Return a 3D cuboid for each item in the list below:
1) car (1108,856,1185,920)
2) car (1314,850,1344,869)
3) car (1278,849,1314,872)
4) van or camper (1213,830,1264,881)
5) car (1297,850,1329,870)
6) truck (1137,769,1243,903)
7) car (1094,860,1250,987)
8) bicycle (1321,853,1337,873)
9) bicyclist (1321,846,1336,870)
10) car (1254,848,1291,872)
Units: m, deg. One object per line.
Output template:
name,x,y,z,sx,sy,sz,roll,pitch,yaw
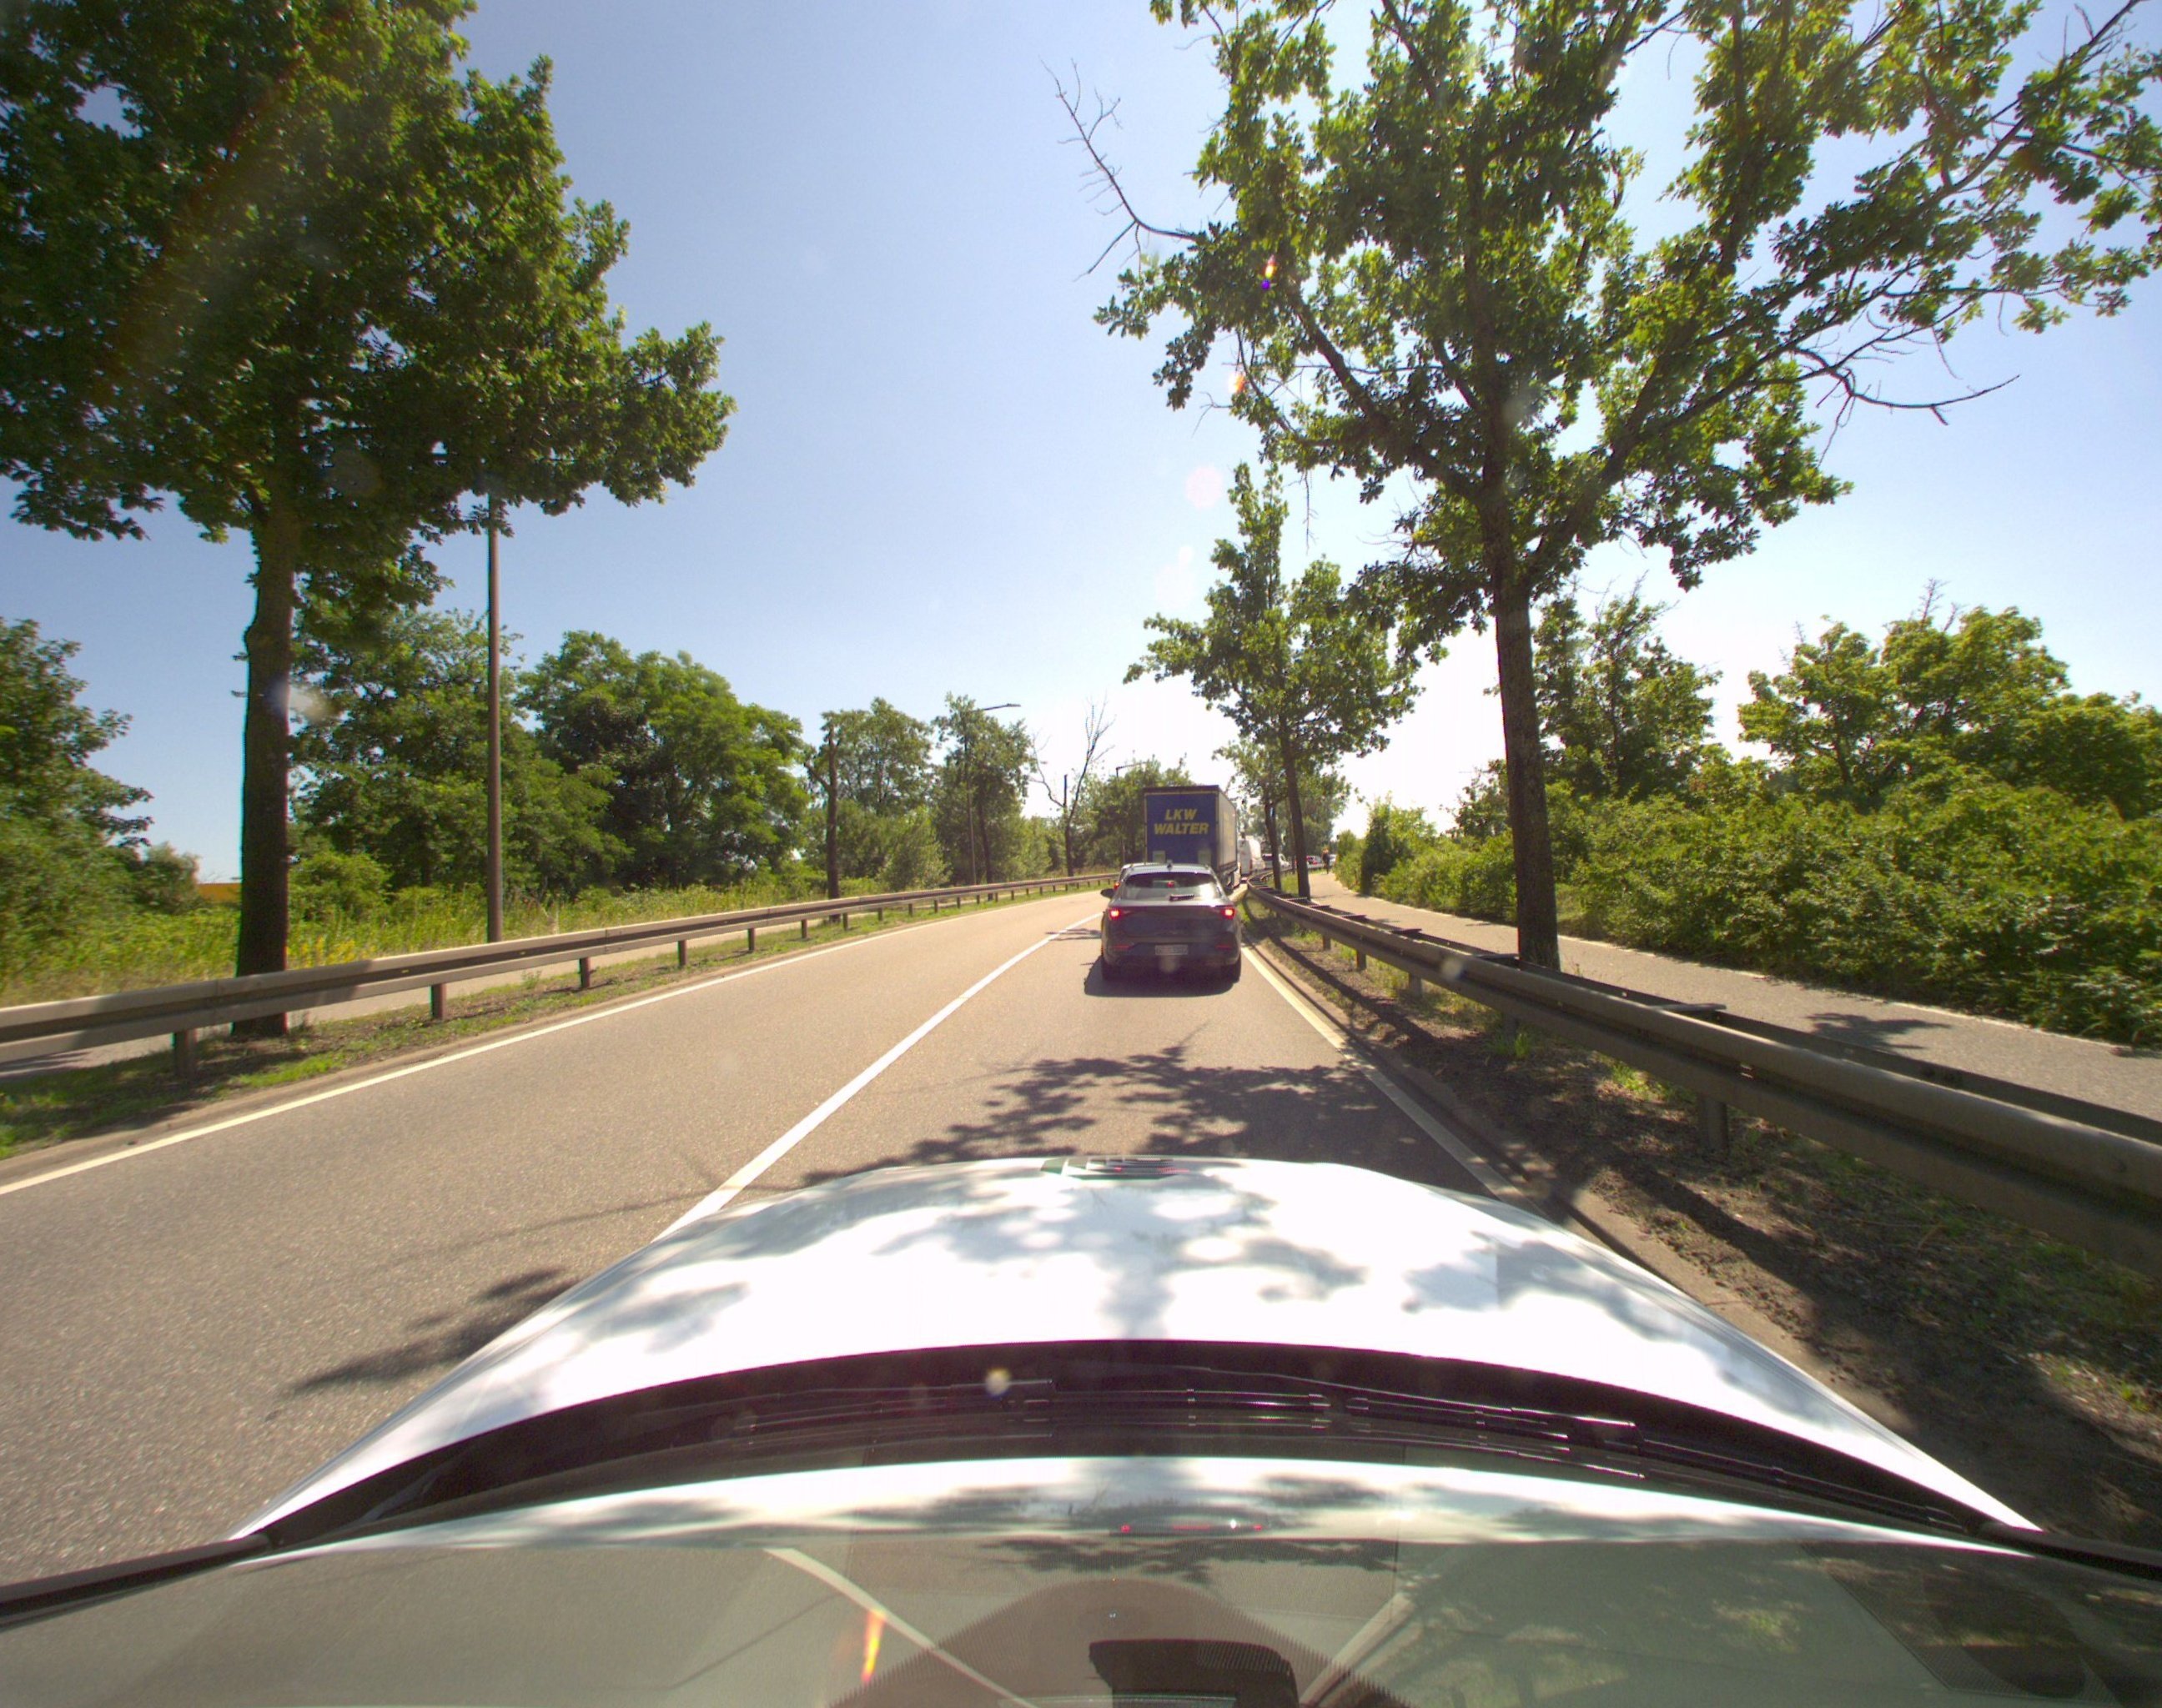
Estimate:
car,1.761,0.836,21.336,1.800,1.508,4.007,-1,-1,6
car,24.540,0.537,80.406,1.975,1.768,4.783,-1,-1,28
car,17.899,0.512,67.578,1.975,1.808,4.874,-1,-1,26
van or camper,9.974,0.117,51.098,2.447,2.998,6.113,-1,-1,17
car,21.214,0.515,74.252,1.975,1.717,4.897,-1,-1,26
truck,5.277,-0.530,35.601,2.929,4.449,16.856,-1,-1,13
car,1.210,0.811,11.193,1.736,1.432,3.885,-1,-1,5
bicycle,16.270,0.580,53.538,0.854,1.237,2.318,-1,-1,14
bicyclist,16.258,0.271,53.538,0.854,1.523,0.984,-1,-1,14
car,14.354,0.424,60.871,1.976,1.712,4.644,-1,-1,22
